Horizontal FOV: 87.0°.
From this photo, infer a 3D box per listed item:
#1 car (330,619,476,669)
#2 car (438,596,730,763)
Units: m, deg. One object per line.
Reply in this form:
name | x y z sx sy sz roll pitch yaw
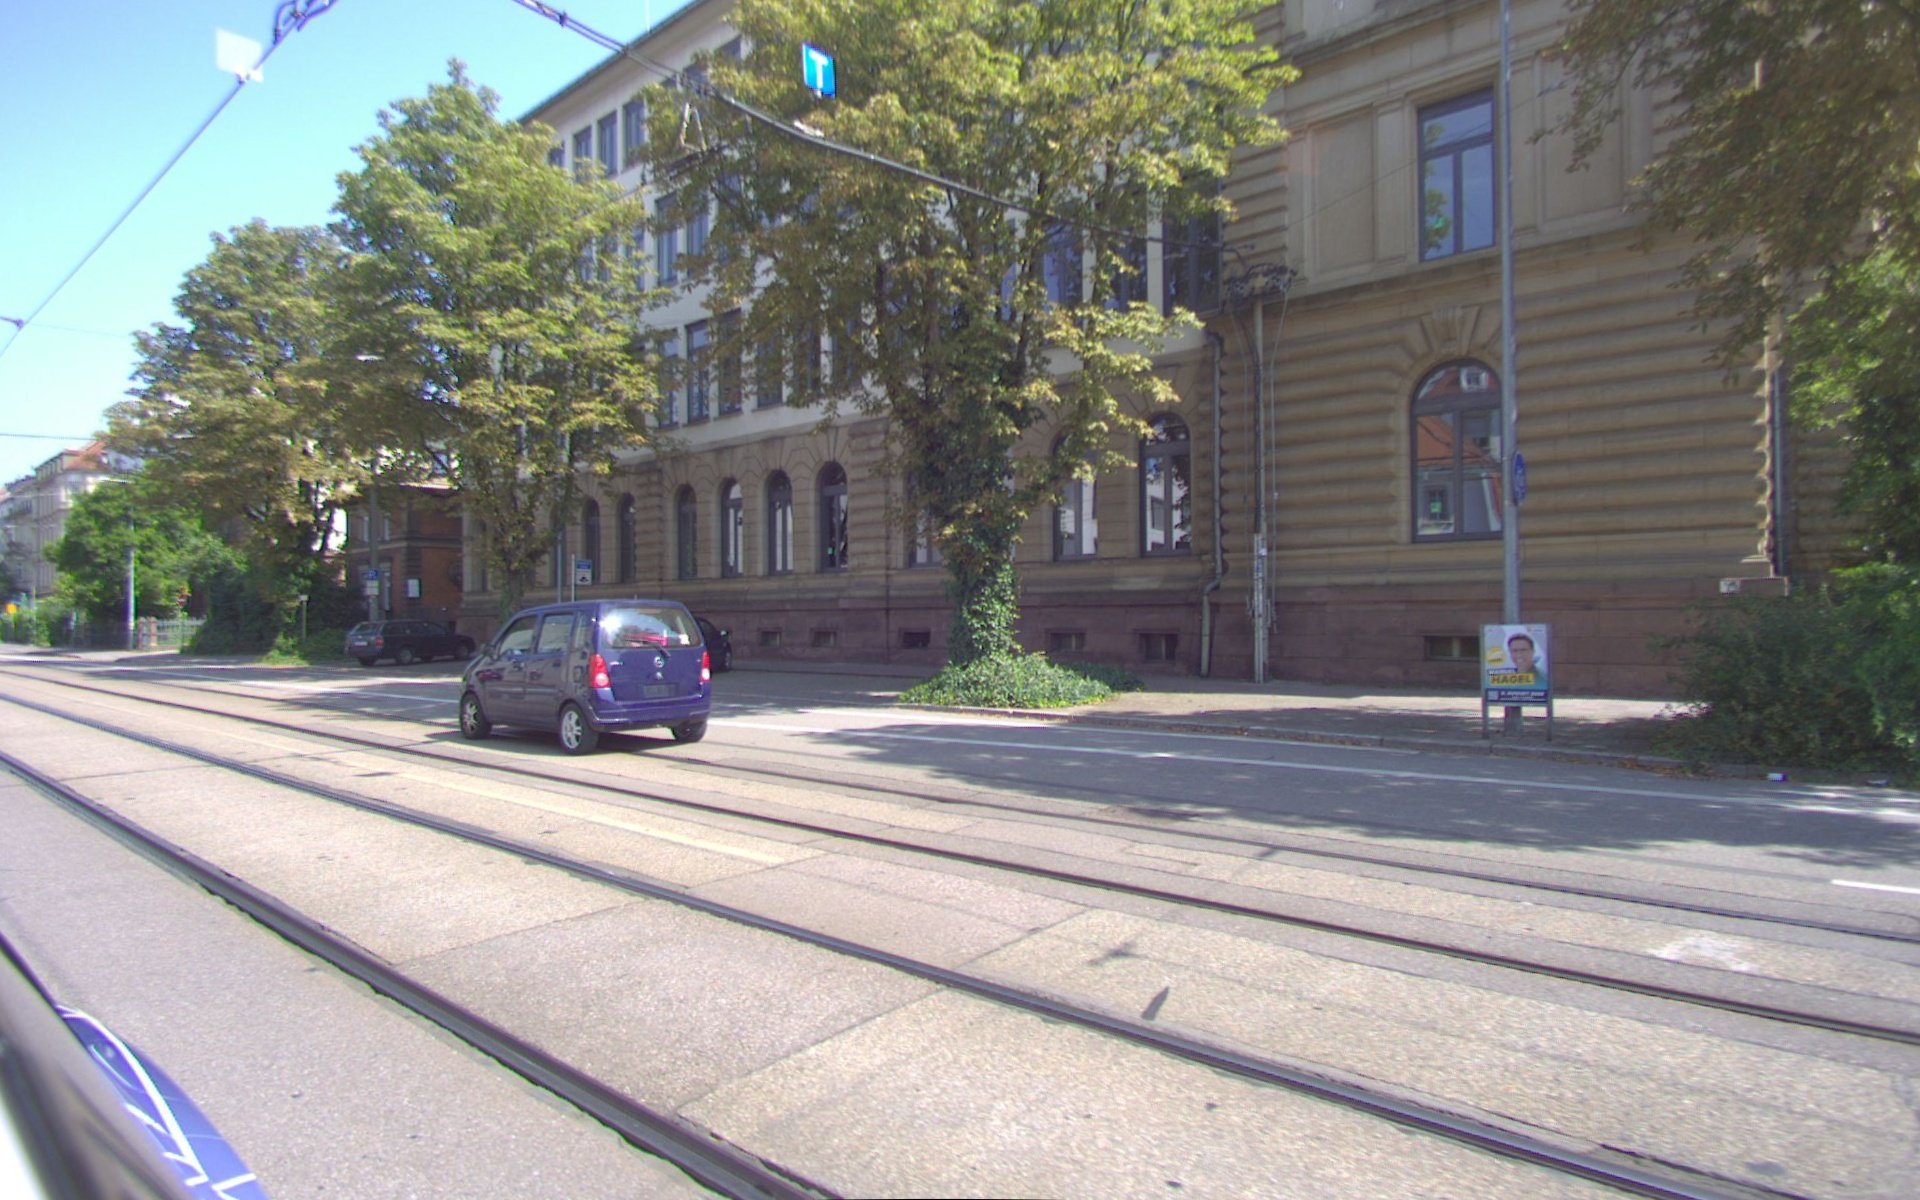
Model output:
car | -18.413 1.425 33.706 1.803 1.473 4.411 -1 -1 13
car | -4.505 0.825 11.920 3.578 1.667 1.674 -1 -1 40
